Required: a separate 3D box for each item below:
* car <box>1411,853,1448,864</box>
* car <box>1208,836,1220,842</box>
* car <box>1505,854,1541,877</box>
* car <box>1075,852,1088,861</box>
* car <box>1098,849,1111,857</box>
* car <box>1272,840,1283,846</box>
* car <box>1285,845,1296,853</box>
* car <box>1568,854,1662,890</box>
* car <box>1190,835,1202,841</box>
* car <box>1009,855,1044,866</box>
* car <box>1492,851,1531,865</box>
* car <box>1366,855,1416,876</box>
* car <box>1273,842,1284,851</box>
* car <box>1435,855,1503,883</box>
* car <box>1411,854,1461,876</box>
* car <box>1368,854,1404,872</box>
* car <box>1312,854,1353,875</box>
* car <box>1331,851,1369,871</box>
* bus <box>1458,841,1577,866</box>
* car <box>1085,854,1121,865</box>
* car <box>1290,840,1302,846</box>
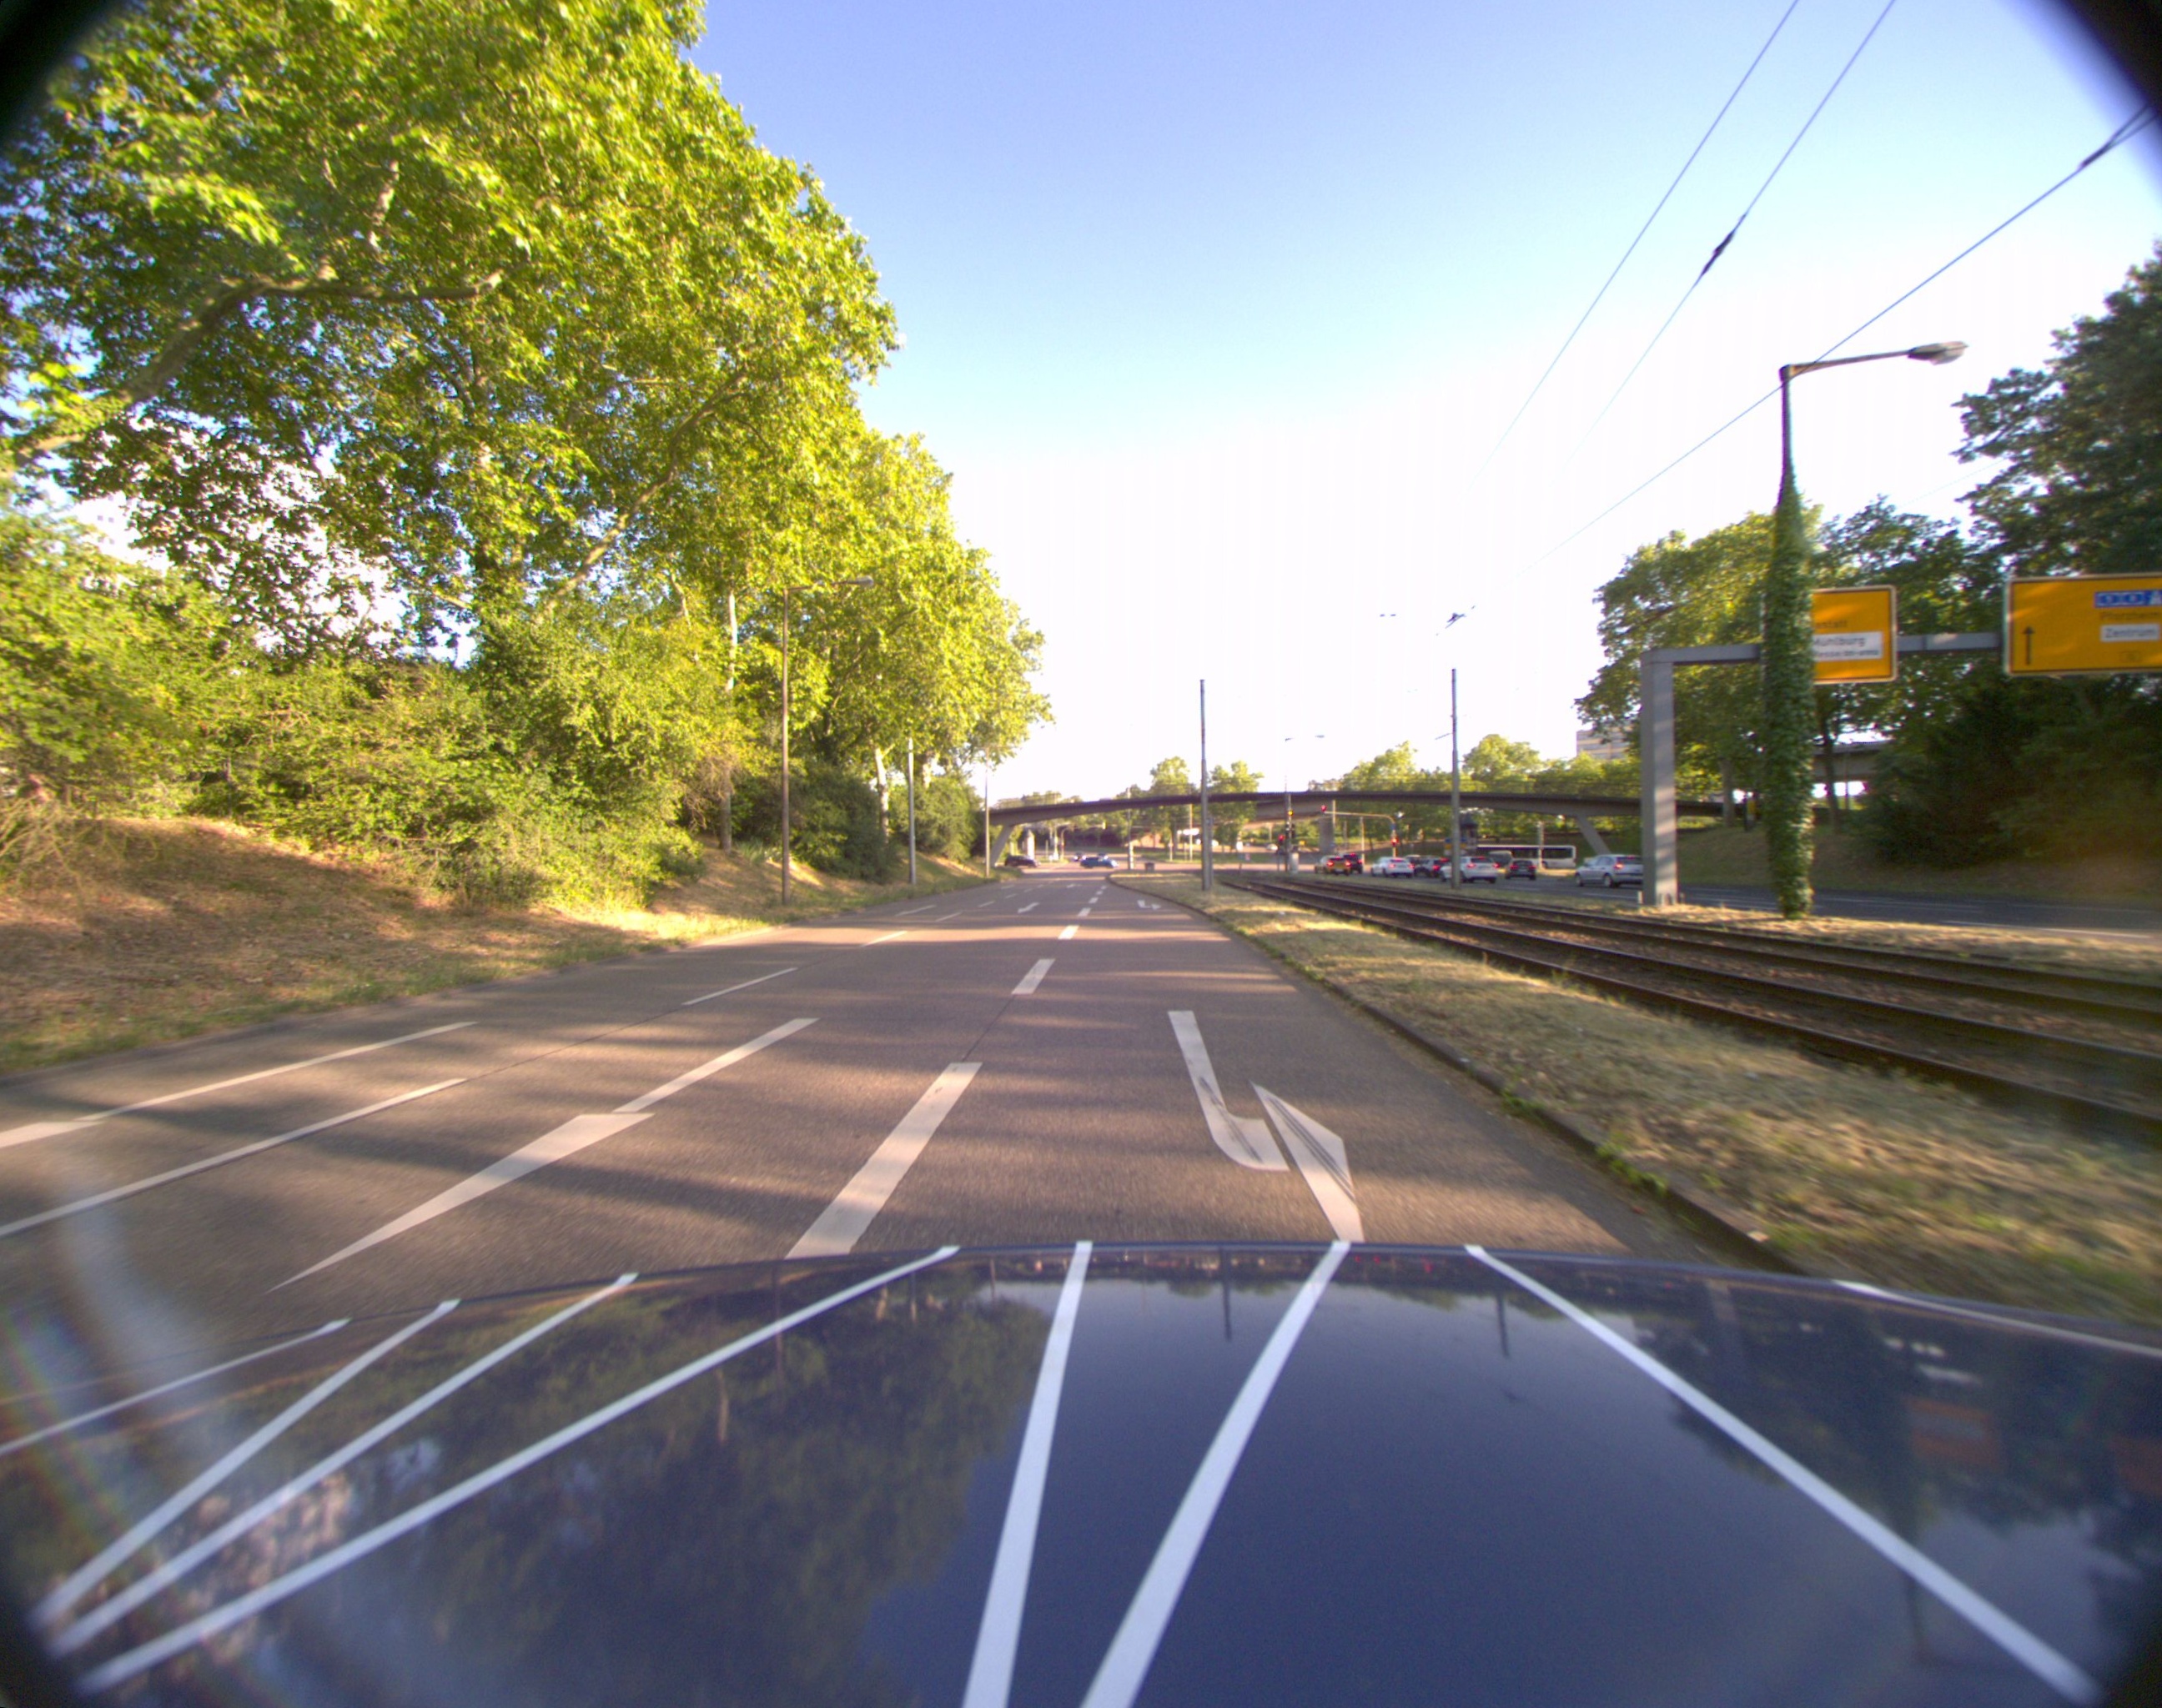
[{"bbox_3d":[43.083,0.563,93.972,4.084,1.346,1.719,0,2,25],"label":"car"},{"bbox_3d":[39.747,-4.423,227.217,1.858,1.600,4.301,-1,1,-16],"label":"car"},{"bbox_3d":[31.634,0.780,54.478,1.840,1.473,4.607,-2,0,25],"label":"car"},{"bbox_3d":[0.106,0.361,130.103,1.998,1.477,4.000,-1,0,2],"label":"car"},{"bbox_3d":[4.092,-0.173,132.662,1.999,1.477,3.999,-1,0,-1],"label":"car"},{"bbox_3d":[48.645,-2.825,188.573,2.009,1.435,4.862,-1,1,7],"label":"car"},{"bbox_3d":[38.856,-0.964,141.088,1.689,1.302,4.313,-1,1,12],"label":"car"},{"bbox_3d":[23.415,0.746,33.518,1.656,1.407,4.261,-1,0,8],"label":"car"},{"bbox_3d":[35.465,-5.002,234.480,1.858,1.856,4.138,-1,1,-19],"label":"car"},{"bbox_3d":[-6.983,0.849,97.300,4.088,1.346,1.718,0,1,13],"label":"car"},{"bbox_3d":[52.294,0.433,92.365,4.084,1.643,1.719,0,2,25],"label":"car"},{"bbox_3d":[21.711,0.793,53.376,1.842,1.407,4.600,-1,0,3],"label":"car"},{"bbox_3d":[40.164,-1.551,154.461,1.793,1.641,4.360,-1,1,9],"label":"car"},{"bbox_3d":[21.139,0.777,41.620,1.657,1.407,4.259,-1,0,2],"label":"car"},{"bbox_3d":[26.042,0.797,55.872,1.842,1.473,4.437,-2,0,4],"label":"car"},{"bbox_3d":[26.820,0.756,67.044,1.690,1.407,4.439,-1,1,5],"label":"car"},{"bbox_3d":[18.352,0.711,55.576,1.842,1.408,4.019,-1,1,3],"label":"car"},{"bbox_3d":[22.879,0.560,64.747,1.842,1.645,4.437,-2,0,3],"label":"car"},{"bbox_3d":[54.662,-0.124,95.617,12.819,2.938,2.836,0,2,27],"label":"bus"},{"bbox_3d":[2.613,0.638,90.047,4.088,1.346,1.718,0,1,13],"label":"car"},{"bbox_3d":[48.510,-2.437,171.284,2.009,1.435,4.255,-1,1,8],"label":"car"}]
